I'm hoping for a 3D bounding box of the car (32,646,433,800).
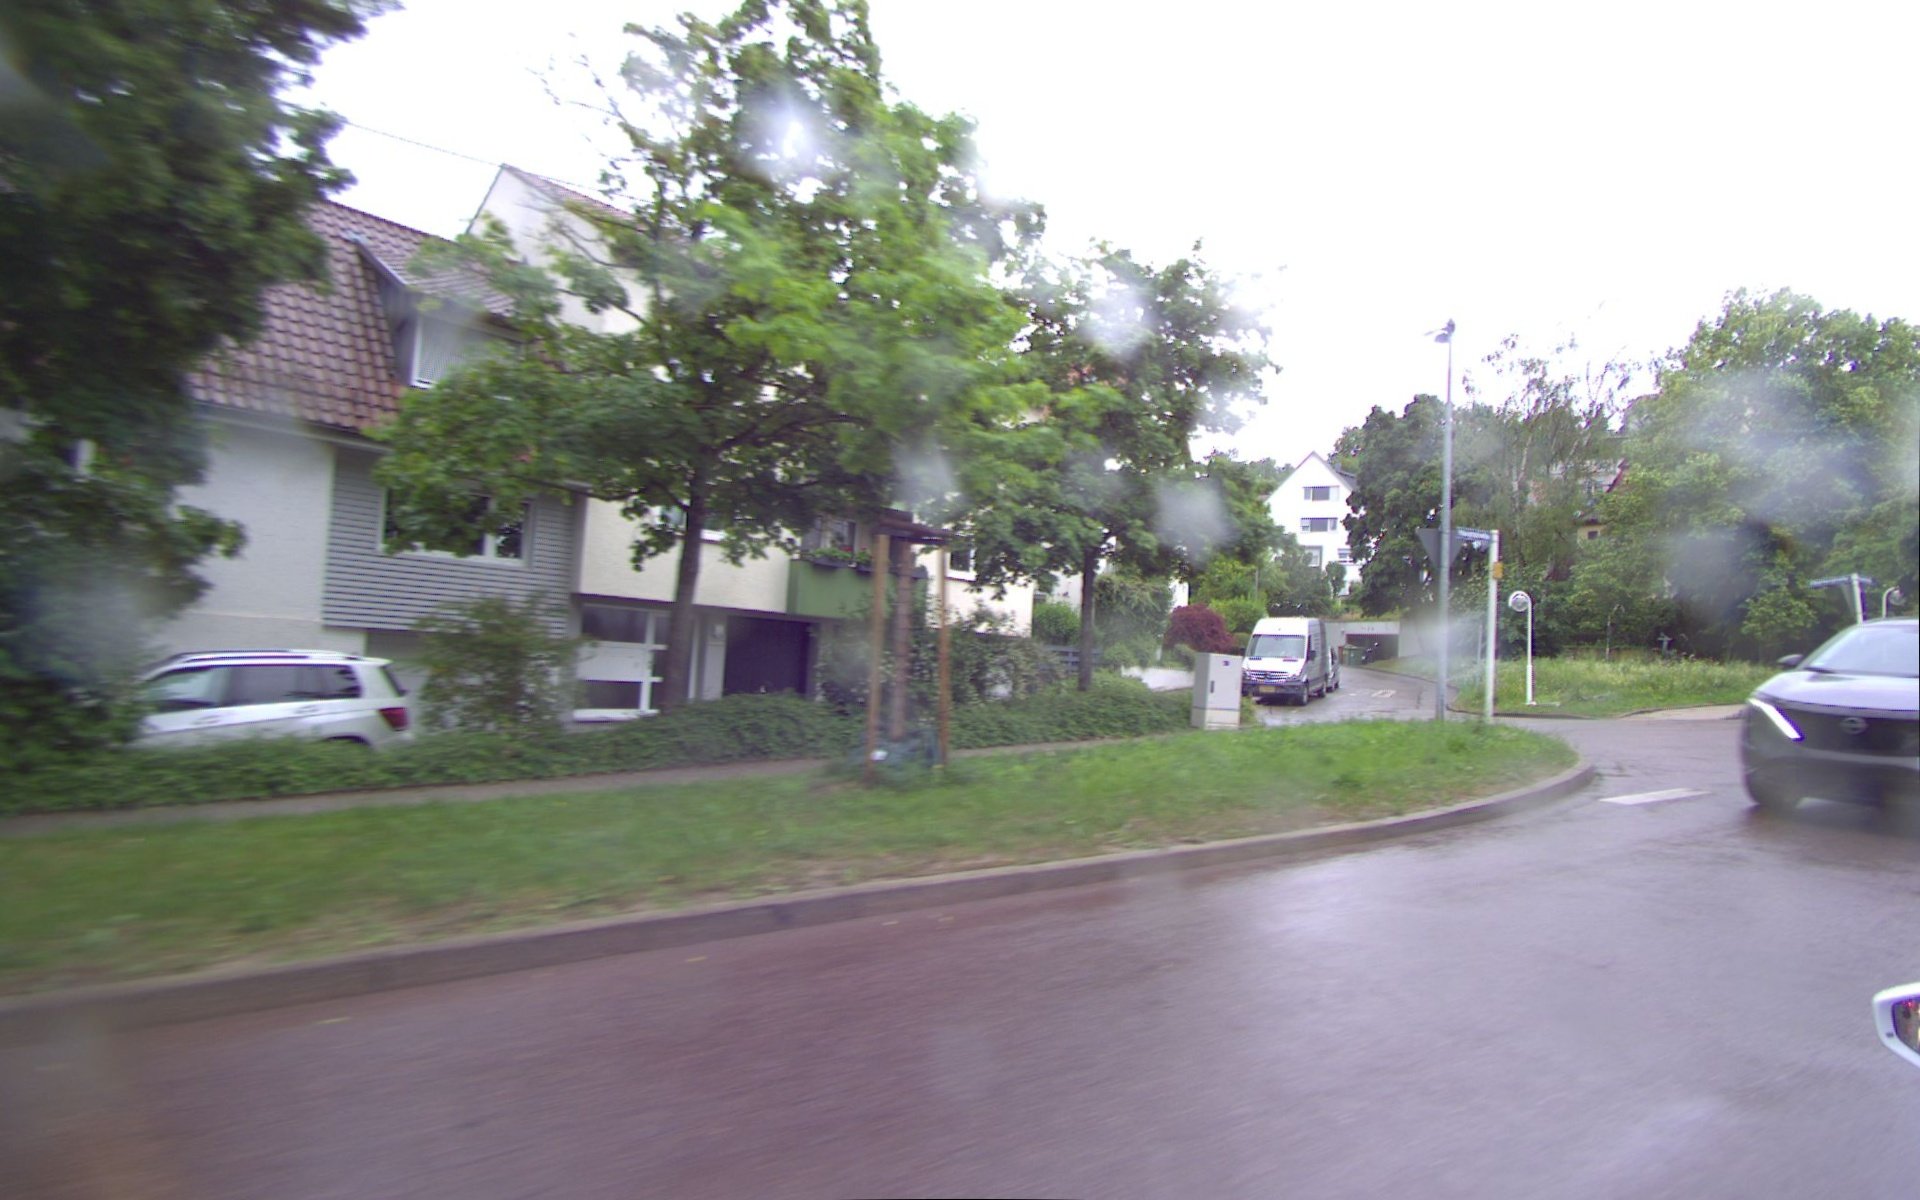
[{"bbox_3d":[-8.179,1.254,11.438,1.973,1.347,3.426,1,-1,45],"label":"car"}]

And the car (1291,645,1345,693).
[{"bbox_3d":[13.460,2.524,37.636,1.531,1.569,4.036,1,-1,25],"label":"car"}]

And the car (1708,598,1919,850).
[{"bbox_3d":[8.214,0.903,8.319,4.326,1.711,1.742,2,-1,-31],"label":"car"}]

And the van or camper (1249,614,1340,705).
[{"bbox_3d":[10.872,1.809,32.377,1.611,2.591,6.055,3,0,29],"label":"van or camper"}]
